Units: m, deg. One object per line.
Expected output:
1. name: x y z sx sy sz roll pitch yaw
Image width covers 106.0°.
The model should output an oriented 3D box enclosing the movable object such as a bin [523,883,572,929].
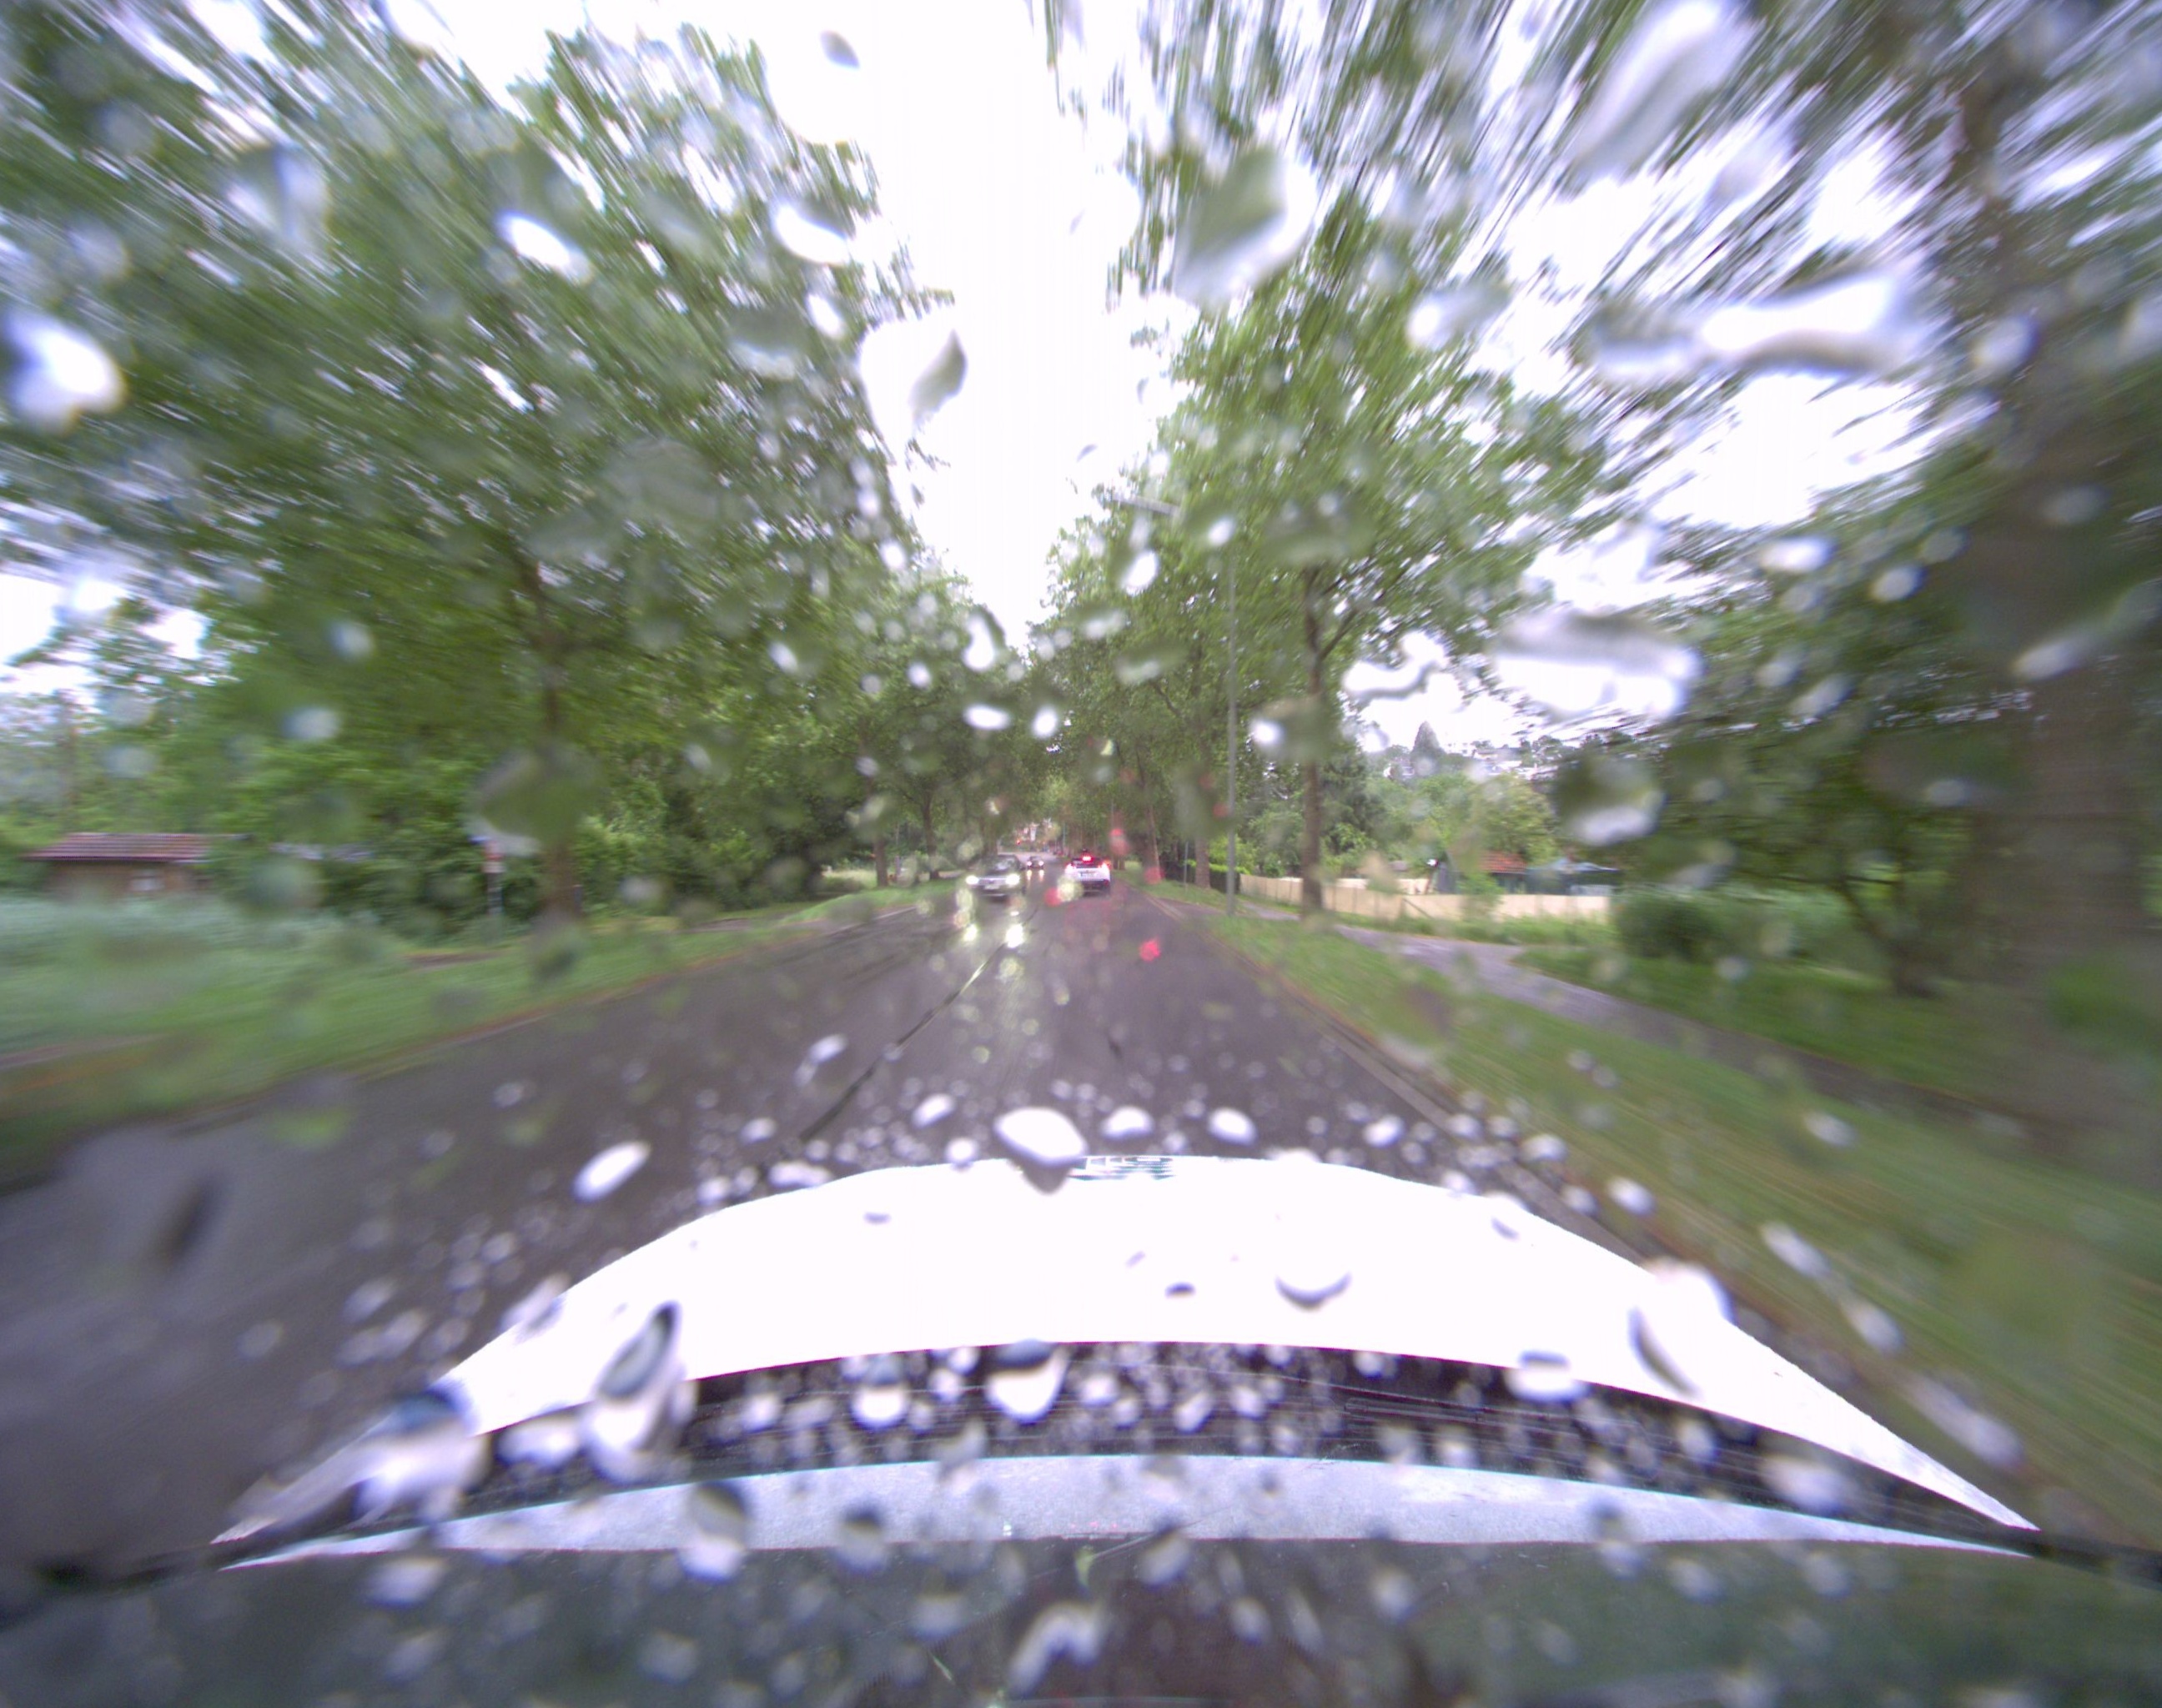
1. movable object such as a bin: -17.416 1.689 26.605 0.960 1.422 0.965 0 0 -2

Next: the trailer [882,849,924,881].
1. trailer: -14.730 0.888 67.710 2.478 2.567 5.329 0 0 -1

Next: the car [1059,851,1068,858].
1. car: -4.163 0.139 194.868 1.821 1.596 3.654 0 0 1

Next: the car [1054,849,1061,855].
1. car: -5.879 -0.443 204.491 1.821 1.596 3.654 0 0 1

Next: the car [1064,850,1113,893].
1. car: 0.316 0.650 32.237 1.787 1.578 3.845 0 0 1

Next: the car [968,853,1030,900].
1. car: -2.906 0.755 29.610 1.725 1.588 4.311 0 0 1

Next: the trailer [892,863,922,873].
1. trailer: -22.101 1.797 103.573 3.552 1.178 1.817 -1 0 -9

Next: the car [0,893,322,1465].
1. car: -3.631 0.854 0.838 1.726 1.423 4.224 0 0 0

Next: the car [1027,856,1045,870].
1. car: -4.906 0.953 88.242 1.705 1.486 3.872 0 0 -7
